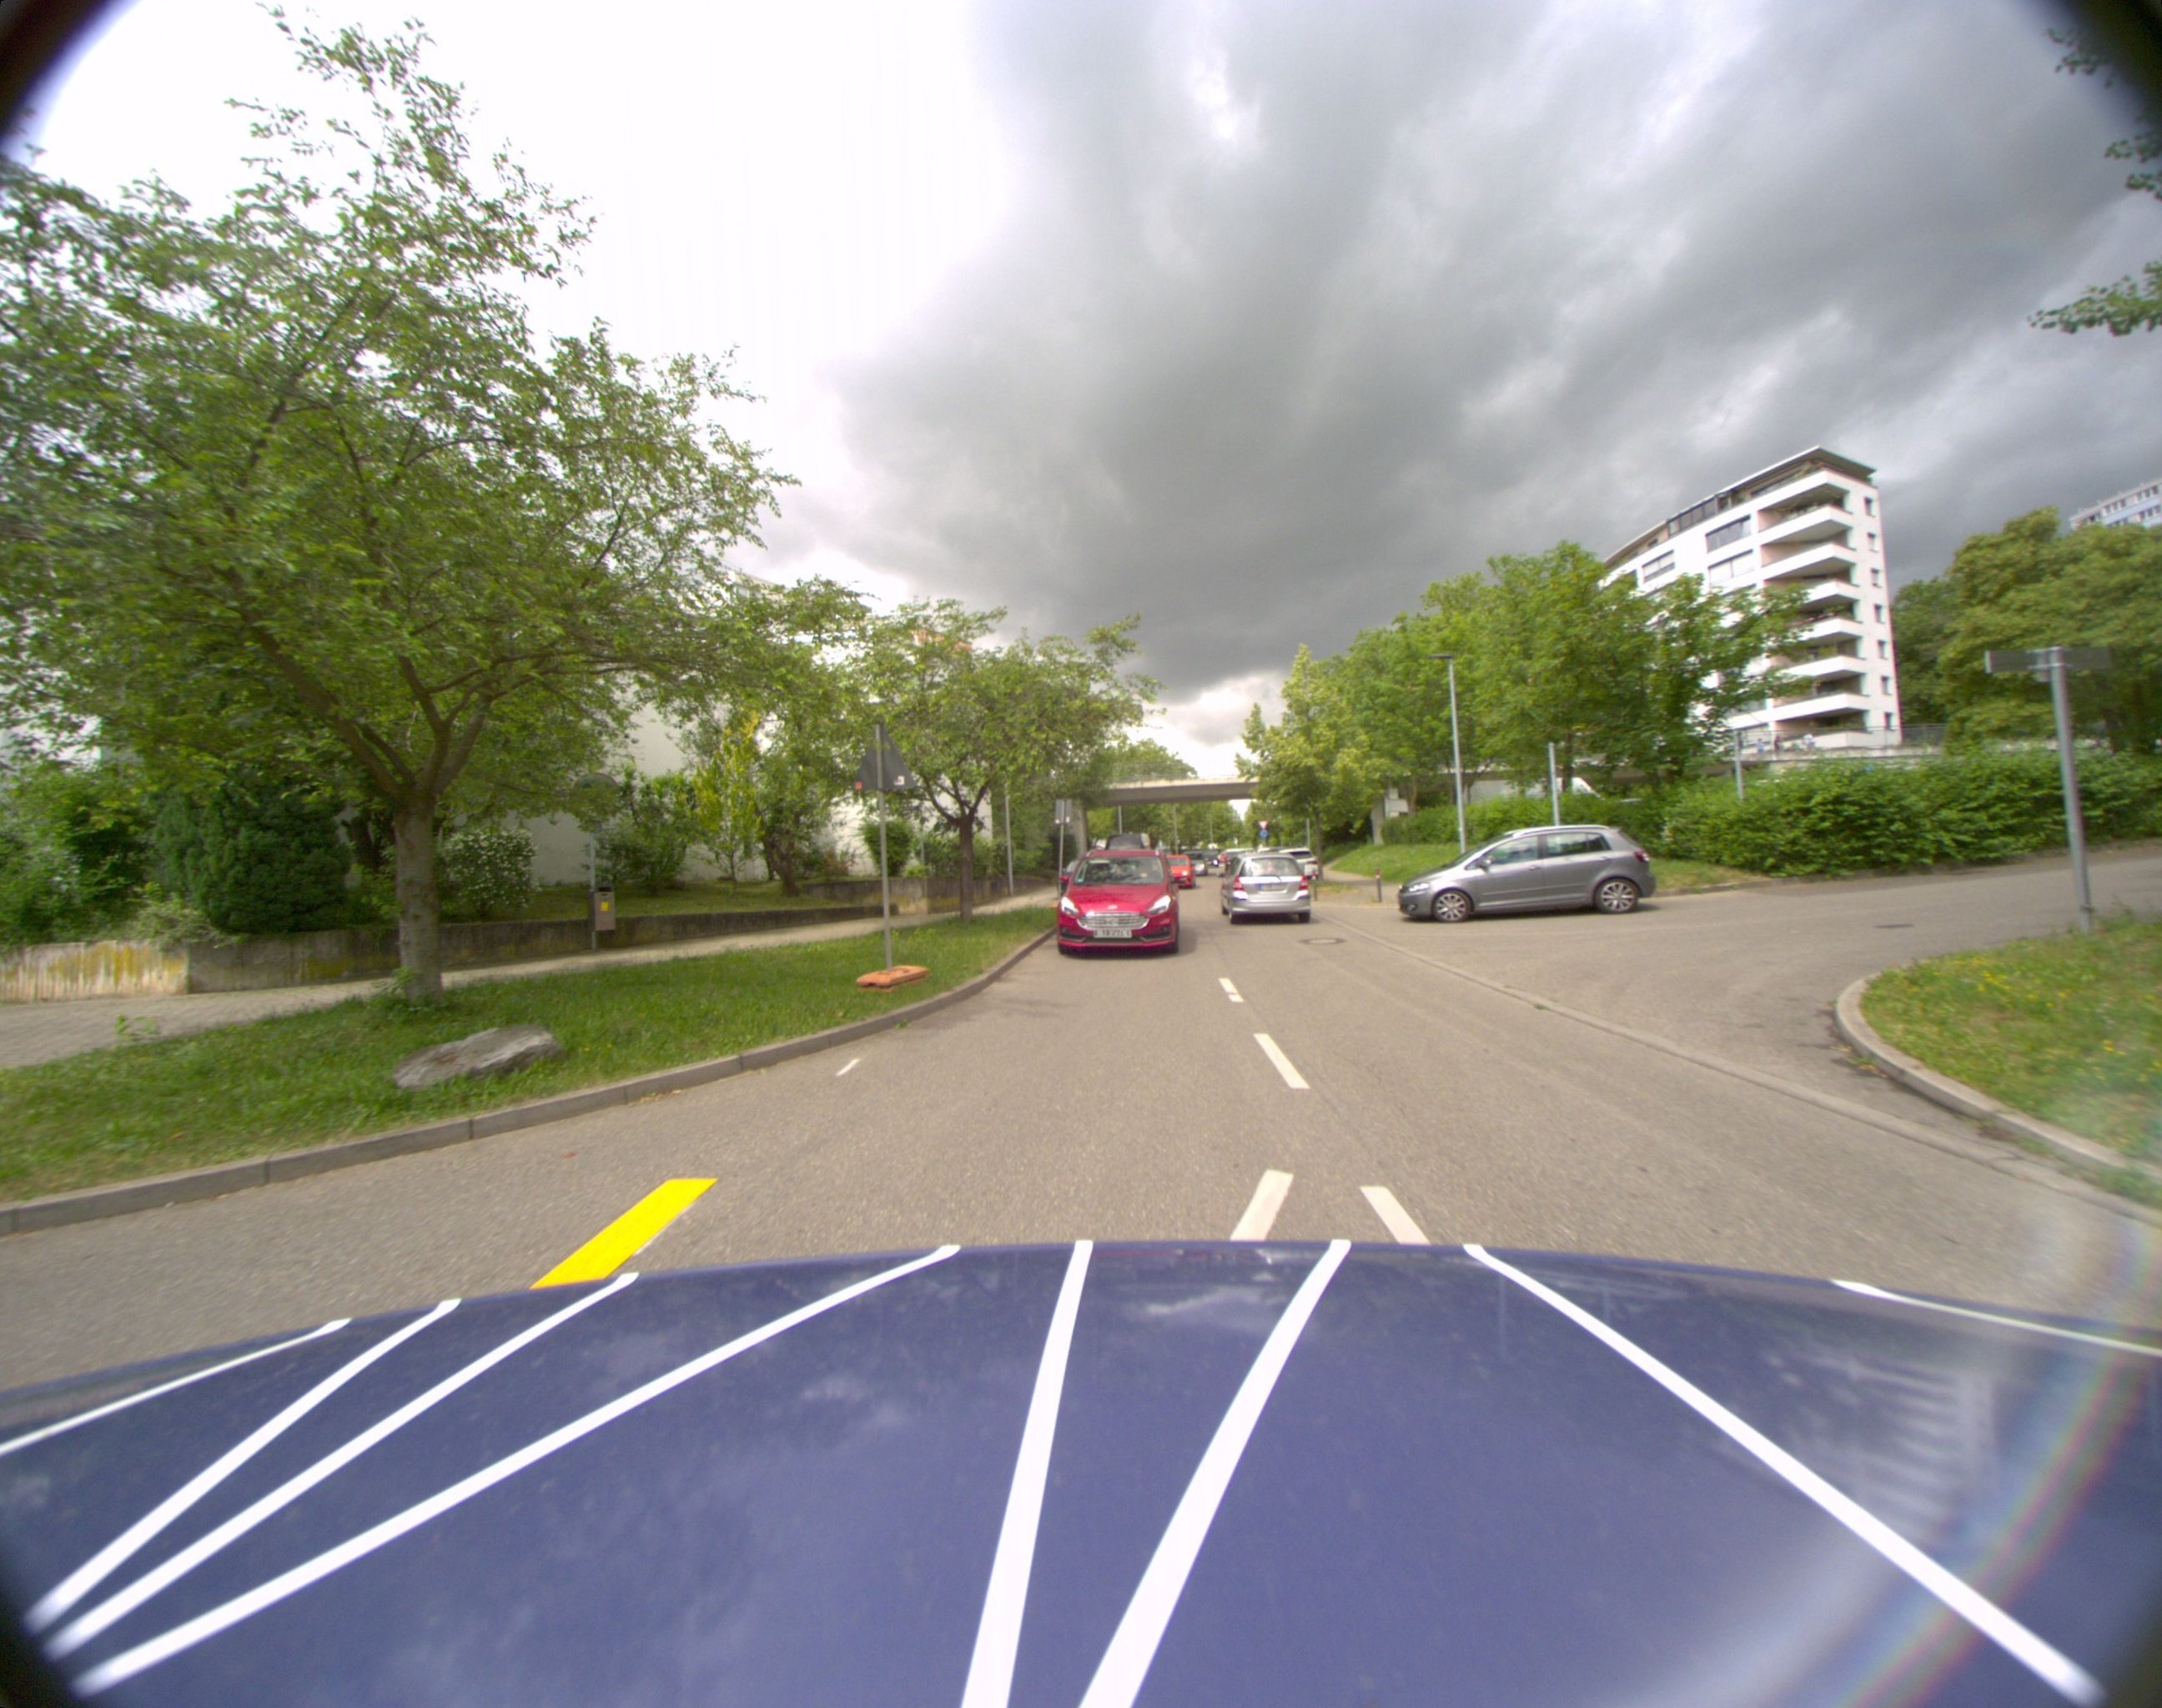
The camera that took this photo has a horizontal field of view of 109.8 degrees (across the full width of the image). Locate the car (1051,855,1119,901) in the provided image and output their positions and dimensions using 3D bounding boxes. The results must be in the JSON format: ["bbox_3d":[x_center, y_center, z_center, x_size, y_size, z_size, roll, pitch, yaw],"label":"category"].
[{"bbox_3d":[0.231,0.792,26.836,1.694,1.412,4.003,-1,0,10],"label":"car"}]

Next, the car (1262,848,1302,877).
[{"bbox_3d":[11.746,0.444,44.641,1.811,1.472,4.489,-4,0,10],"label":"car"}]

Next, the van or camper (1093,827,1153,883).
[{"bbox_3d":[2.162,0.007,37.461,1.997,2.481,5.763,-2,1,12],"label":"van or camper"}]

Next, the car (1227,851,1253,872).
[{"bbox_3d":[11.846,0.537,56.694,1.754,1.411,4.371,-1,0,12],"label":"car"}]

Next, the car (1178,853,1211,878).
[{"bbox_3d":[7.314,0.691,48.862,1.779,1.443,4.003,-2,1,13],"label":"car"}]

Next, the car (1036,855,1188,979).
[{"bbox_3d":[0.657,0.854,12.192,1.811,1.600,3.725,0,1,12],"label":"car"}]

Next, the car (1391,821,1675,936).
[{"bbox_3d":[8.093,0.450,14.054,4.112,1.652,1.760,-6,0,17],"label":"car"}]

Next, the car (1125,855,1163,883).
[{"bbox_3d":[3.616,0.825,43.151,1.585,1.441,3.725,-2,1,12],"label":"car"}]

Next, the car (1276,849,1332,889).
[{"bbox_3d":[8.833,0.546,30.375,1.811,1.397,4.051,-2,1,12],"label":"car"}]

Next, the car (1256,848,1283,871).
[{"bbox_3d":[14.221,0.372,57.174,1.810,1.561,3.726,-2,1,16],"label":"car"}]

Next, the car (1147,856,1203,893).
[{"bbox_3d":[4.175,0.857,33.131,1.860,1.434,4.004,-3,-1,14],"label":"car"}]

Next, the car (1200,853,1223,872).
[{"bbox_3d":[11.468,0.714,66.828,1.779,1.412,4.001,-5,1,8],"label":"car"}]

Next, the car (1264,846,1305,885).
[{"bbox_3d":[9.400,0.500,35.172,1.596,1.575,2.687,-6,0,13],"label":"car"}]

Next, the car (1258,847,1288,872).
[{"bbox_3d":[13.145,0.375,51.889,1.811,1.447,3.865,-5,0,16],"label":"car"}]

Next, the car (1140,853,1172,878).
[{"bbox_3d":[4.848,0.705,48.685,1.603,1.478,3.725,-2,1,12],"label":"car"}]

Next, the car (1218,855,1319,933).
[{"bbox_3d":[4.091,0.819,17.085,1.844,1.447,3.654,-2,1,9],"label":"car"}]
